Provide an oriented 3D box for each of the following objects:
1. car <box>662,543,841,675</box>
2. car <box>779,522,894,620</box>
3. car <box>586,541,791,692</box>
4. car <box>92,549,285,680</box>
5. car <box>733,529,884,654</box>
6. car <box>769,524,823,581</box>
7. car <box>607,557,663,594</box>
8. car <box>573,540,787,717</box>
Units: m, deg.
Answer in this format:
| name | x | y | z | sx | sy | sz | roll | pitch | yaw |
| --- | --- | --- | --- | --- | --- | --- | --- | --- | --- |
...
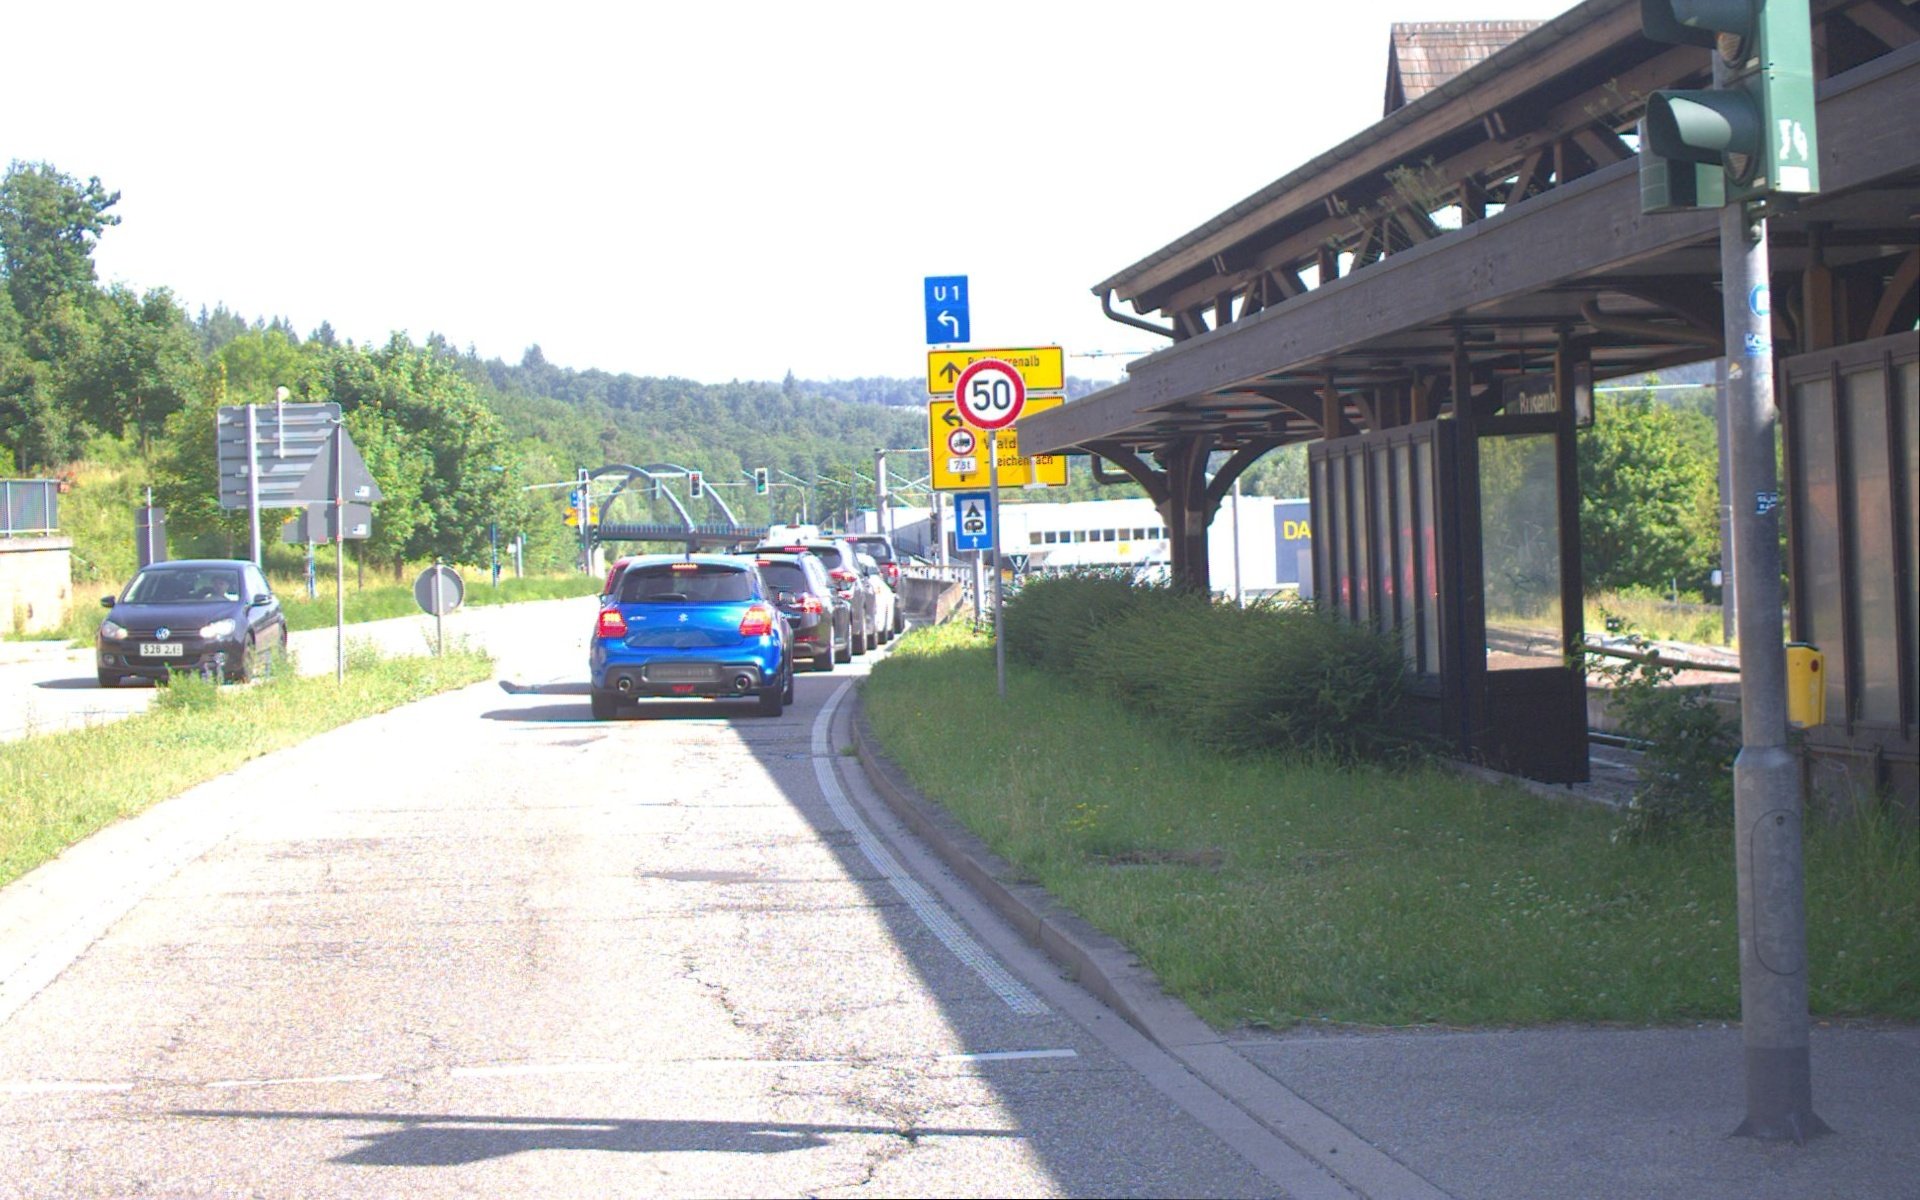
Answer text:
| name | x | y | z | sx | sy | sz | roll | pitch | yaw |
| --- | --- | --- | --- | --- | --- | --- | --- | --- | --- |
| car | -2.568 | 0.070 | 43.286 | 1.993 | 1.526 | 4.602 | -1 | 1 | -1 |
| car | -2.249 | -0.553 | 63.339 | 1.993 | 1.730 | 4.000 | 1 | 1 | -1 |
| car | -2.945 | 0.154 | 38.007 | 1.993 | 1.566 | 4.000 | 0 | 1 | -1 |
| car | -9.190 | 0.134 | 41.197 | 1.745 | 1.457 | 4.044 | -1 | 1 | -6 |
| car | -2.125 | -0.150 | 49.385 | 1.993 | 1.681 | 4.497 | 1 | 1 | -1 |
| car | -6.187 | -1.793 | 130.160 | 1.993 | 2.137 | 4.720 | 0 | 1 | -2 |
| car | -13.461 | -1.042 | 142.593 | 1.791 | 1.465 | 4.716 | -1 | 1 | 1 |
| car | -2.574 | 0.222 | 32.343 | 1.868 | 1.543 | 4.001 | -1 | 1 | -3 |
